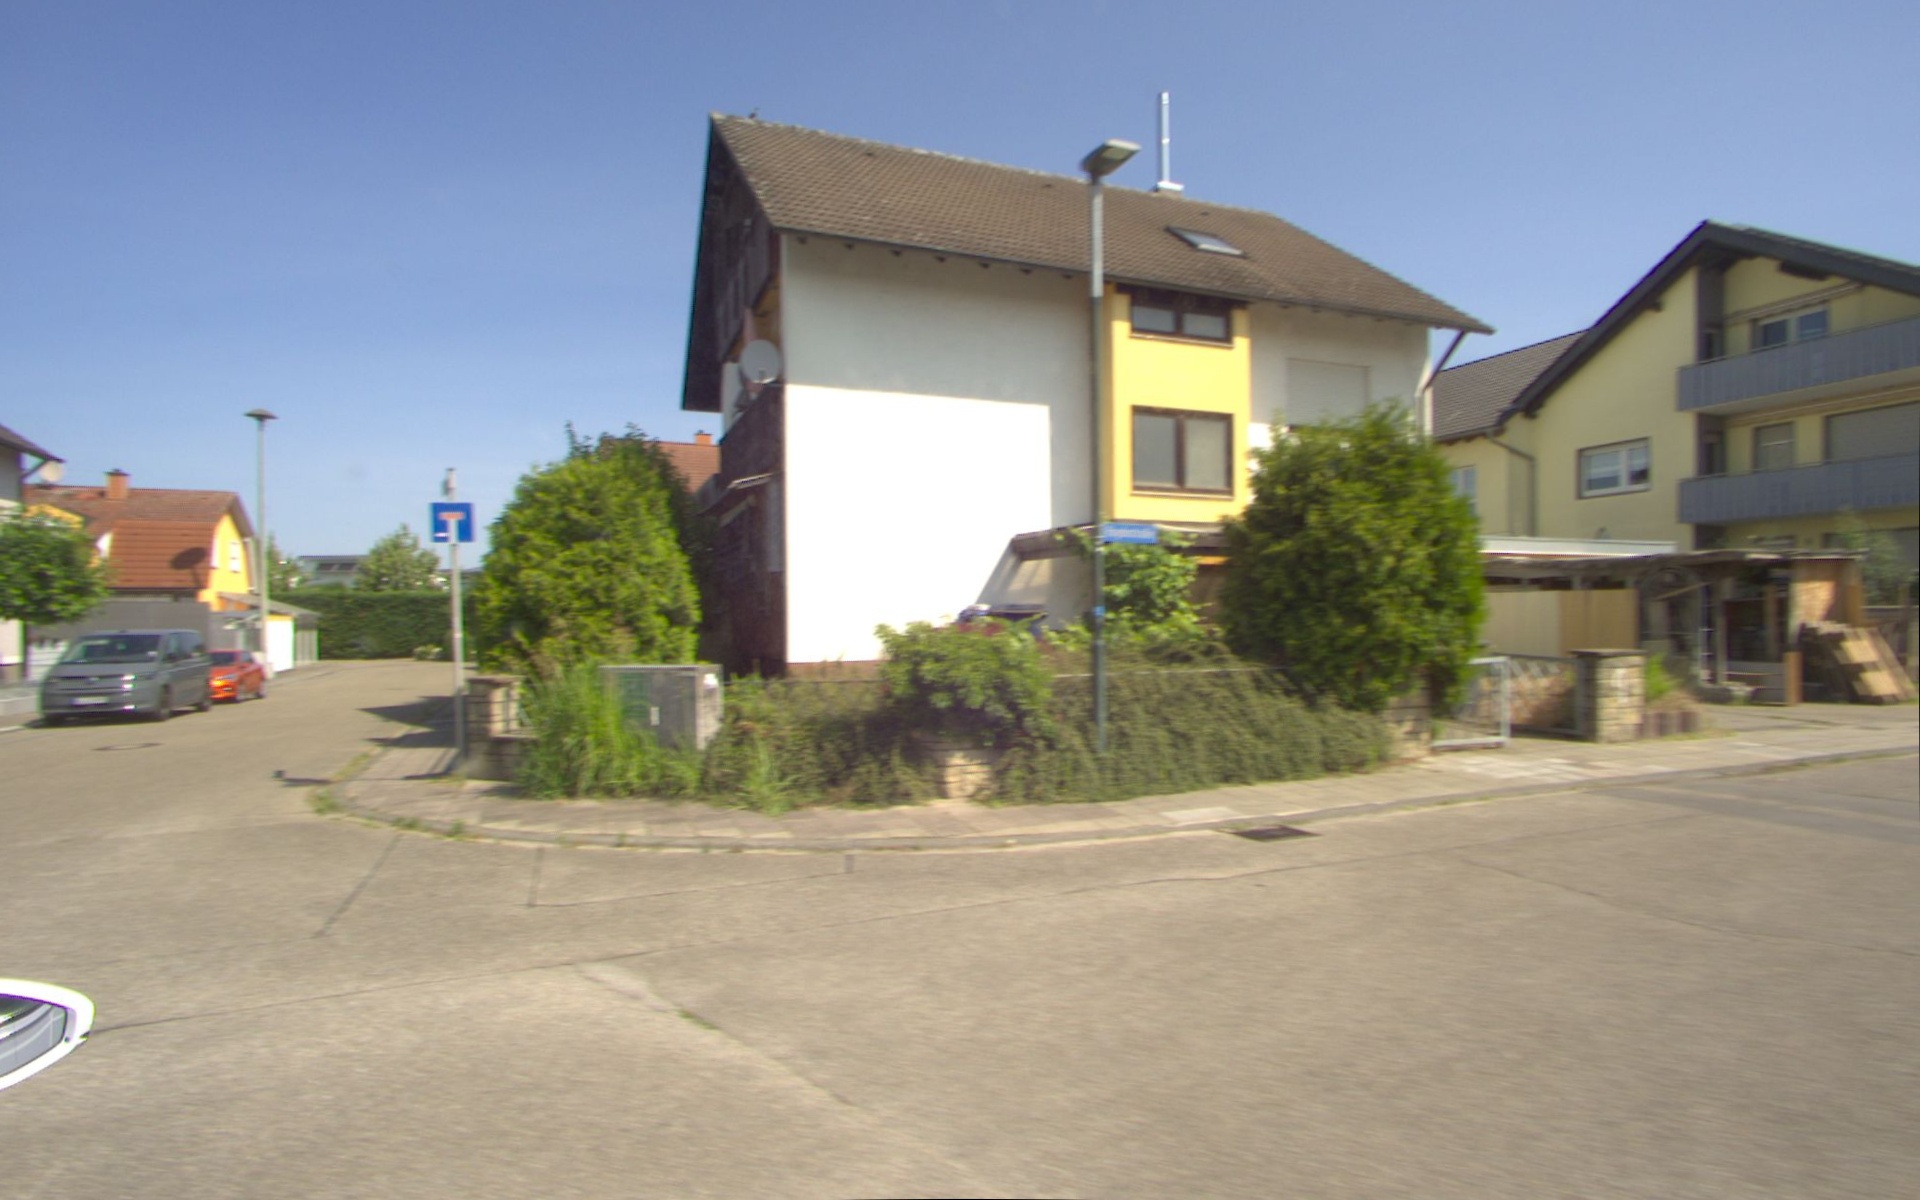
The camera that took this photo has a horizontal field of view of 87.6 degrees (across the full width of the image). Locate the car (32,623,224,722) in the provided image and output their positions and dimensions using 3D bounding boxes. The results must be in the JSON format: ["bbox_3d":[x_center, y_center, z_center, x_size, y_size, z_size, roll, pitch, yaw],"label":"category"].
[{"bbox_3d":[-17.587,1.463,21.443,1.876,1.893,4.360,1,-2,-22],"label":"car"}]

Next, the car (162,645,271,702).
[{"bbox_3d":[-20.240,1.966,27.416,1.631,1.382,3.766,0,-2,-25],"label":"car"}]
